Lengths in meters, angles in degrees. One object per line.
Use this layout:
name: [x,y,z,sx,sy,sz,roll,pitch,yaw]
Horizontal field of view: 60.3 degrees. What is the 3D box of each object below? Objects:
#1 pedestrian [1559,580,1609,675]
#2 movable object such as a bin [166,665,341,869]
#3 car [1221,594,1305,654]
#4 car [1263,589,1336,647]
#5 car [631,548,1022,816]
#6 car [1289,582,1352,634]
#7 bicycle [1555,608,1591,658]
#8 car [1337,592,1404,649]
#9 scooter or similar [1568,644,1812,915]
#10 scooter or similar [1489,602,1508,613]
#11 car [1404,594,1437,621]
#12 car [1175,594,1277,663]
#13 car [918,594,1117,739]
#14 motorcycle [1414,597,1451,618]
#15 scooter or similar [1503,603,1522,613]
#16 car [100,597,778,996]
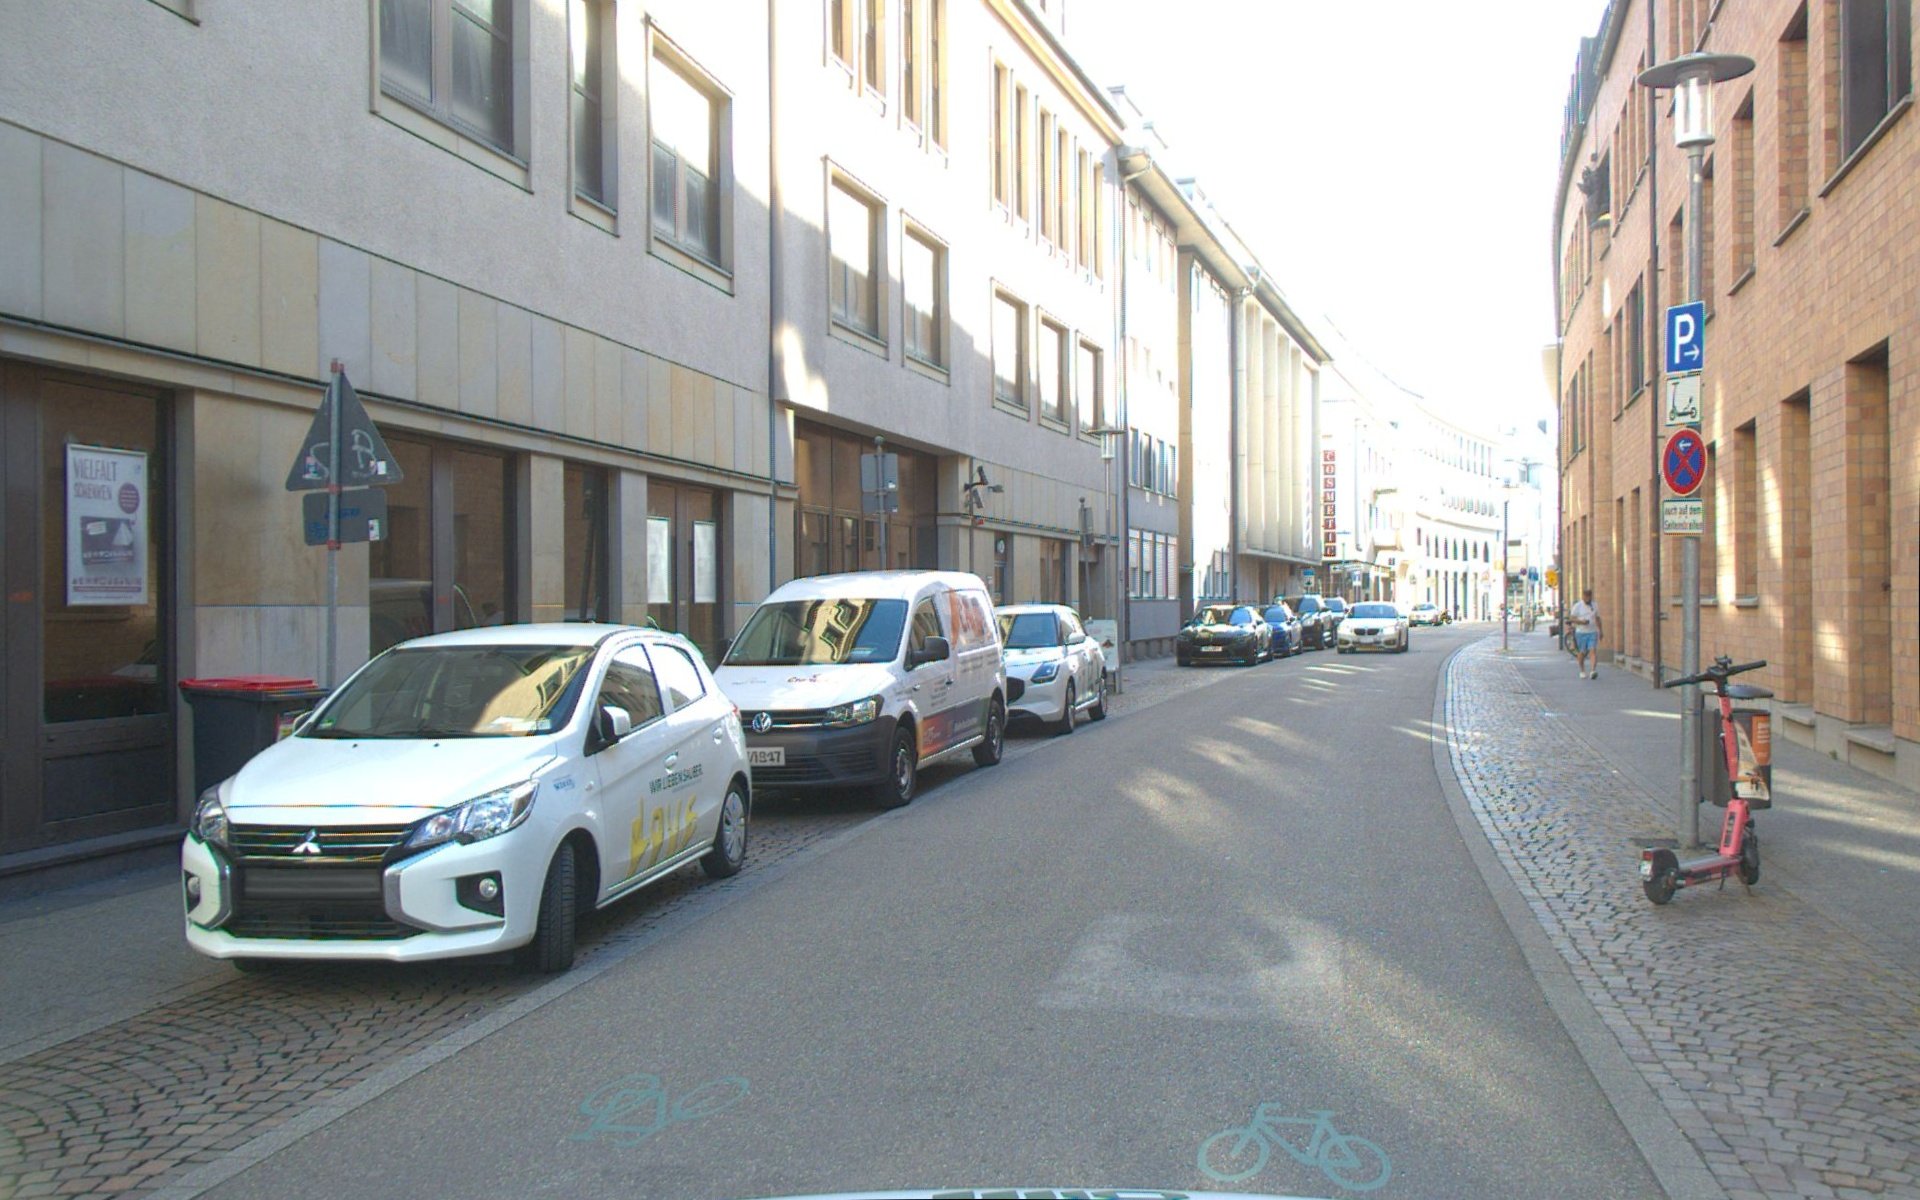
pedestrian: [11.757,0.514,31.173,0.744,1.746,0.822,-2,-1,16]
movable object such as a bin: [-4.186,0.970,9.825,0.721,1.120,0.591,2,0,11]
car: [8.510,0.630,46.165,1.850,1.557,4.342,-1,0,16]
car: [10.727,0.529,52.012,1.850,1.705,4.556,-1,0,16]
car: [-0.903,0.593,14.195,1.859,1.890,4.737,-2,0,14]
car: [12.879,0.255,58.919,1.850,1.773,4.393,-1,0,16]
bicycle: [14.712,0.772,39.707,0.538,1.122,1.984,-4,-1,14]
car: [11.786,0.560,47.350,1.678,1.544,4.163,-1,0,16]
scooter or similar: [3.813,0.883,8.608,1.403,1.257,0.531,0,1,-37]
scooter or similar: [45.800,0.658,140.671,2.207,0.944,0.519,0,0,-40]
car: [28.429,0.446,102.068,1.701,1.634,3.533,1,0,21]
car: [6.542,0.642,40.262,1.850,1.557,4.732,-1,0,16]
car: [0.808,0.745,20.315,1.634,1.548,3.779,-3,0,14]
motorcycle: [32.137,0.509,112.541,2.341,1.340,0.862,-2,-1,20]
scooter or similar: [48.496,0.700,145.241,2.207,0.944,0.519,0,0,-40]
car: [-2.273,0.780,8.347,1.700,1.518,3.803,-2,0,9]
